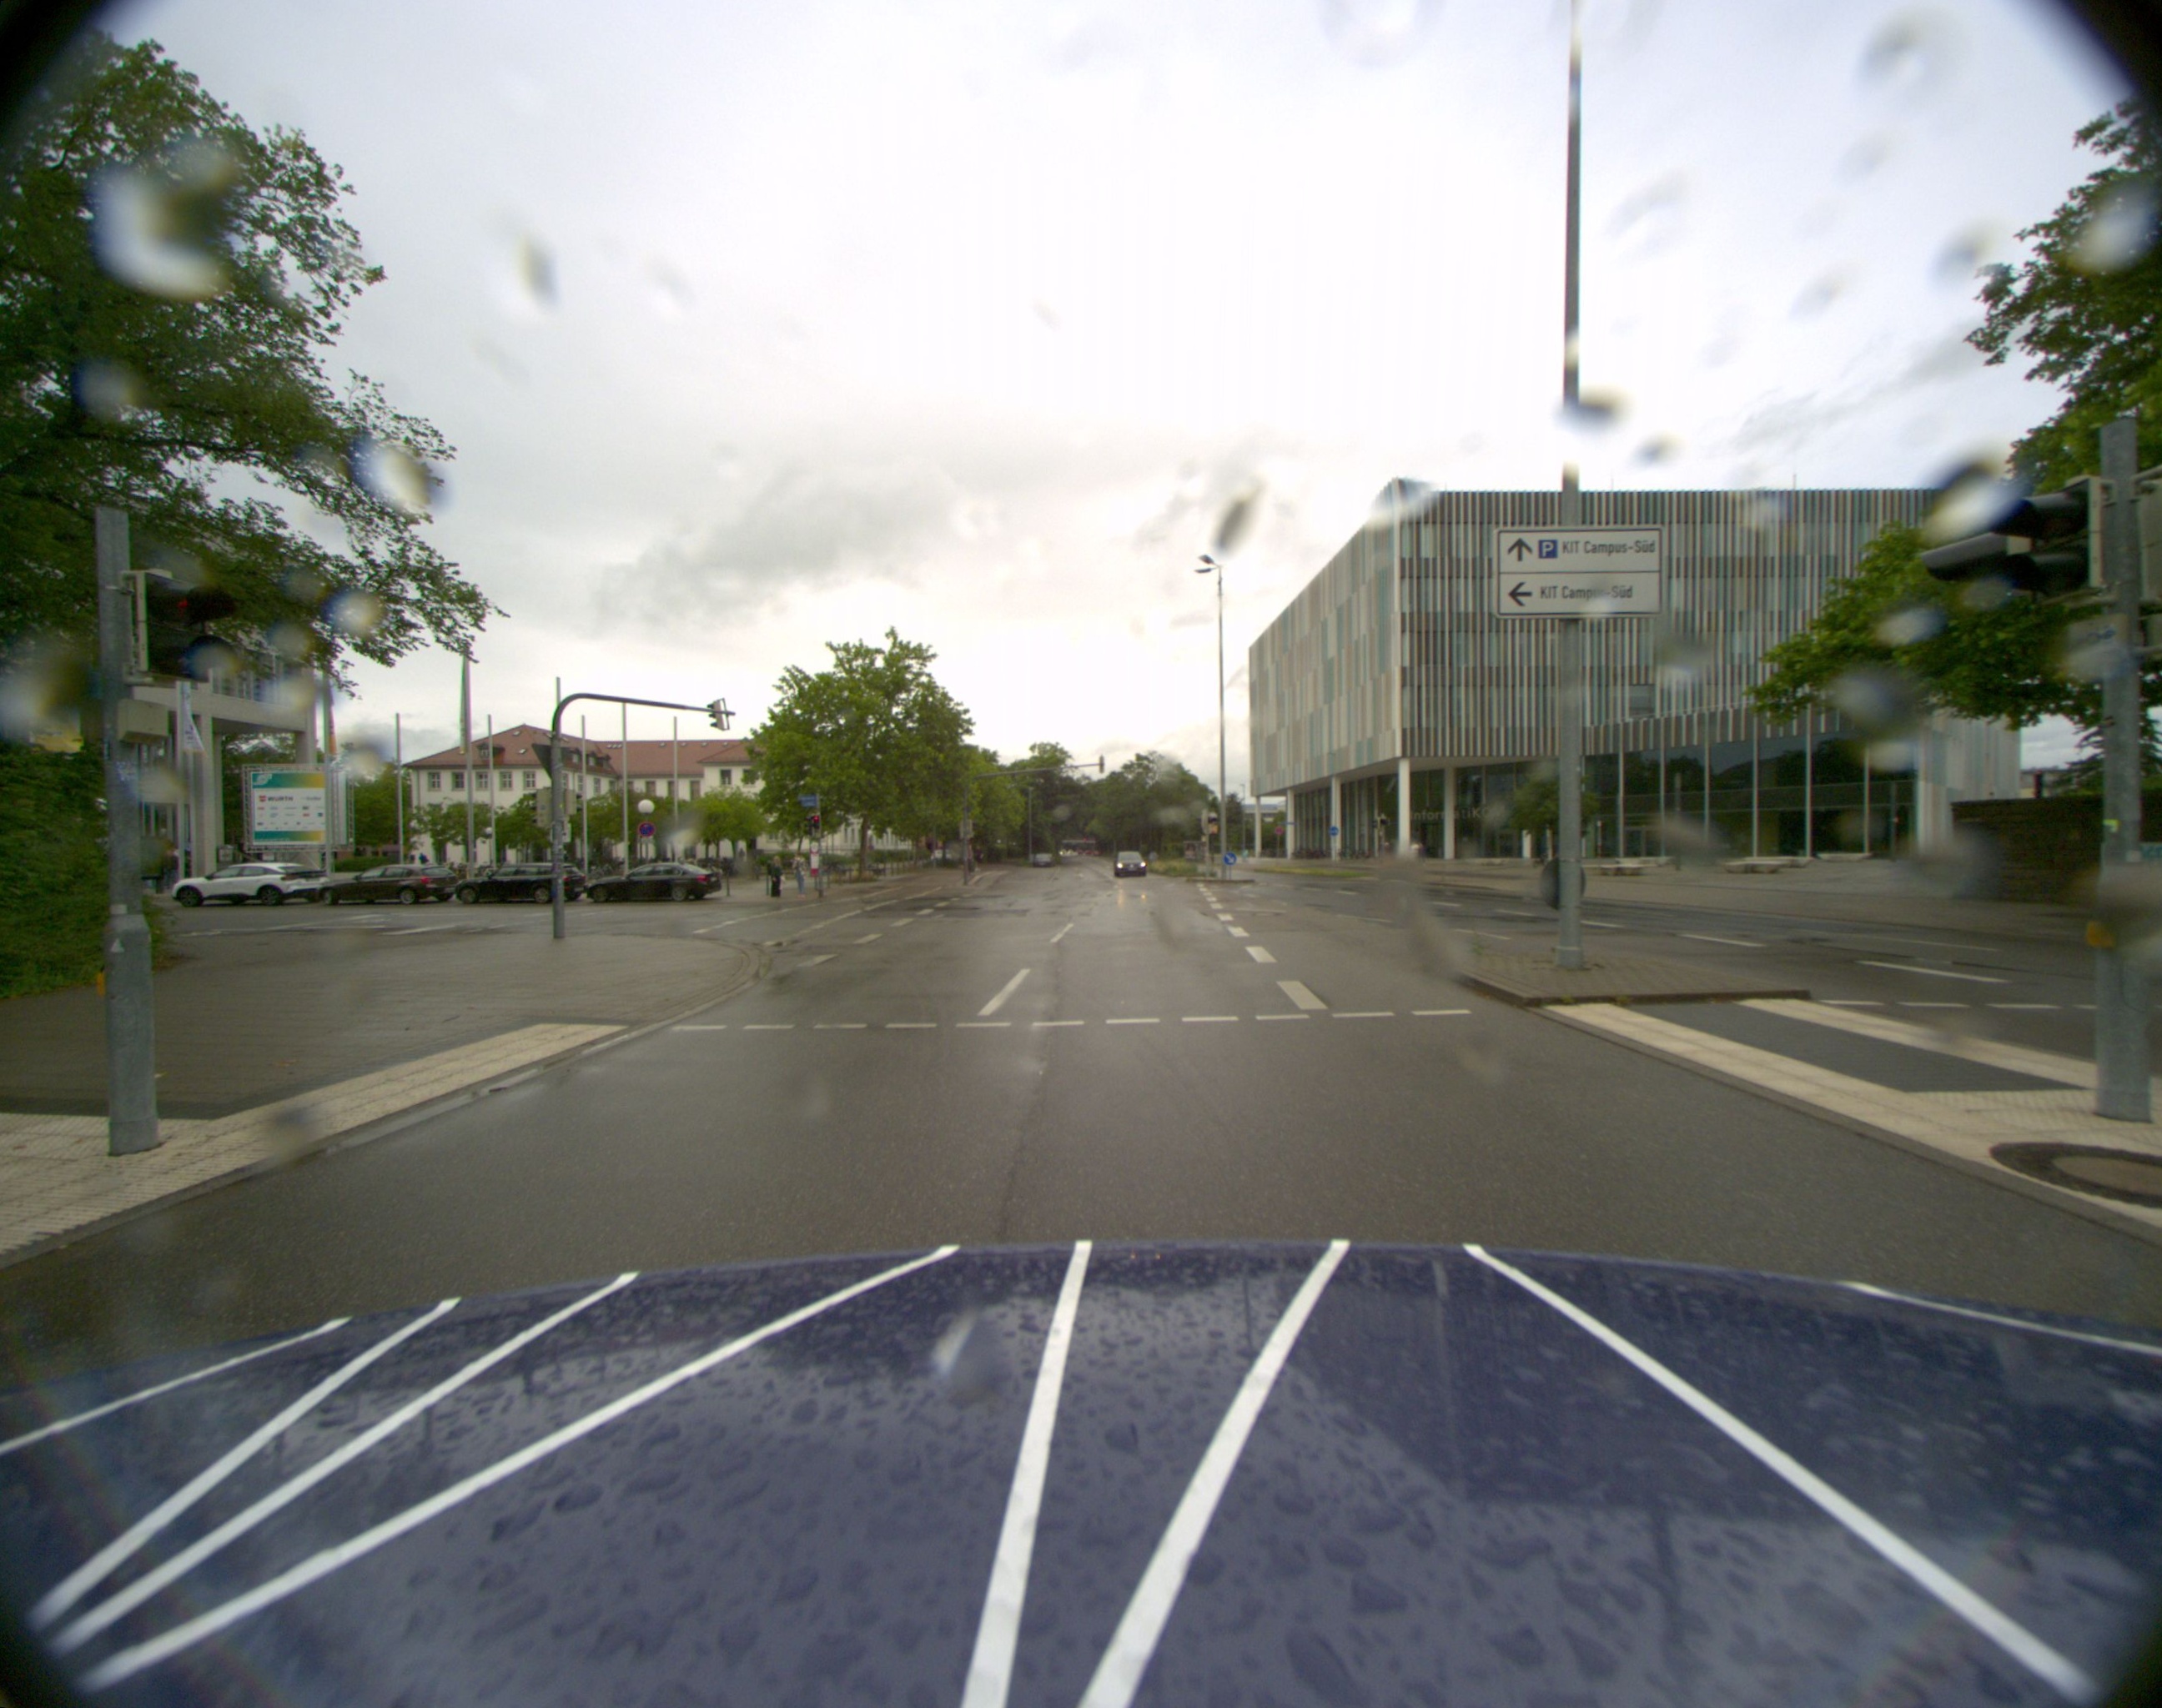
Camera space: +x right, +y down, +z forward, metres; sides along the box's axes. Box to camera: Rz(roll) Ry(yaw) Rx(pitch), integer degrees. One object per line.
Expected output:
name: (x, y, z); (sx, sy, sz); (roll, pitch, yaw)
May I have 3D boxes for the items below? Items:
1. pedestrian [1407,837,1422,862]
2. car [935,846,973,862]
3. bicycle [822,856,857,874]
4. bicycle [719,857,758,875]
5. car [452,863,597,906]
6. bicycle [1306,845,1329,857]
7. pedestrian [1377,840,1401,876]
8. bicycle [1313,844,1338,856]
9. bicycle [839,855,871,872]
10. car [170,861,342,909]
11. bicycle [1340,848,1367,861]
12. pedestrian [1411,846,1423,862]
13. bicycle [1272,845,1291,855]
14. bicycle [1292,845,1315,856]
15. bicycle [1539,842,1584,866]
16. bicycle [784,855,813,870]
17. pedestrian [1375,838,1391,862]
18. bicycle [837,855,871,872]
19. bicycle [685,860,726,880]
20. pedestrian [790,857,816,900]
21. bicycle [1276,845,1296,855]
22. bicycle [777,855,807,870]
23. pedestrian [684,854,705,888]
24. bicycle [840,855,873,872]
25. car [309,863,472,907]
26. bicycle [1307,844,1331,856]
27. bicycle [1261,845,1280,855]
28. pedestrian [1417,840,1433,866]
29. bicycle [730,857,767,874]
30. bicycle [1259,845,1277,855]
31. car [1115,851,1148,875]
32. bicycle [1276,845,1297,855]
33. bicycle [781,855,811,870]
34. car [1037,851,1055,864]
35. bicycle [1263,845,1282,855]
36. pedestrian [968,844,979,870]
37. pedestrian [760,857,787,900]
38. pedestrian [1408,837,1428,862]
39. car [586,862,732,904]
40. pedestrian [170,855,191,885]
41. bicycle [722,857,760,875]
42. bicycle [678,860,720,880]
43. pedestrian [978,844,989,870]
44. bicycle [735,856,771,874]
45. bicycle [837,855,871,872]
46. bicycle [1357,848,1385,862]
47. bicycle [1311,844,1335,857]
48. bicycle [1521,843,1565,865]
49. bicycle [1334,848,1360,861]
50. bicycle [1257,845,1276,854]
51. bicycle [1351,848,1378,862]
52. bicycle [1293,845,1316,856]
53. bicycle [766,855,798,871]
pedestrian: (24.102, -0.342, 54.864); (0.788, 1.814, 0.623); (-1, 1, -22)
car: (-15.404, -0.003, 92.449); (4.426, 1.862, 1.637); (-1, 1, -7)
bicycle: (-16.818, 0.736, 52.982); (2.286, 1.215, 0.598); (-1, 1, -11)
bicycle: (-23.565, 0.835, 52.298); (2.286, 1.215, 0.598); (-1, 1, -11)
car: (-20.565, 1.103, 28.195); (4.013, 1.371, 1.772); (-1, 3, 0)
bicycle: (24.915, -0.317, 80.078); (2.282, 1.215, 0.599); (-1, 1, 10)
pedestrian: (15.784, 0.187, 38.902); (0.788, 1.814, 0.794); (-1, 1, -22)
bicycle: (24.725, -0.393, 76.859); (2.282, 1.215, 0.599); (-1, 1, 10)
bicycle: (-16.953, 0.699, 57.056); (2.286, 1.215, 0.598); (-1, 1, -11)
car: (-30.267, 1.113, 27.988); (4.098, 1.510, 1.771); (-1, 3, -4)
bicycle: (24.932, 0.052, 69.507); (2.286, 1.215, 0.598); (-1, 1, -11)
pedestrian: (25.518, -0.009, 57.761); (0.624, 1.146, 0.787); (-1, 1, 3)
bicycle: (24.356, -0.491, 92.327); (2.282, 1.215, 0.599); (-1, 1, 10)
bicycle: (24.273, -0.403, 82.871); (2.282, 1.215, 0.599); (-1, 1, 10)
bicycle: (26.016, -0.007, 41.152); (2.286, 1.215, 0.598); (-1, 1, -11)
bicycle: (-24.516, 0.712, 66.012); (2.286, 1.215, 0.598); (-1, 1, -11)
pedestrian: (23.050, -0.304, 57.987); (0.922, 1.814, 0.940); (-1, 1, 9)
bicycle: (-16.570, 0.708, 55.567); (2.286, 1.215, 0.598); (-1, 1, -11)
bicycle: (-24.548, 1.042, 49.650); (2.286, 1.215, 0.598); (-1, 1, -11)
pedestrian: (-10.600, 0.906, 28.997); (0.878, 1.598, 0.862); (-1, 1, -21)
bicycle: (24.573, -0.482, 91.056); (2.282, 1.215, 0.599); (-1, 1, 10)
bicycle: (-24.284, 0.728, 63.932); (2.286, 1.215, 0.598); (-1, 1, -11)
pedestrian: (-20.071, 0.880, 39.465); (0.851, 1.728, 1.120); (-2, 1, -31)
bicycle: (-17.063, 0.694, 57.790); (2.286, 1.215, 0.598); (-1, 1, -11)
car: (-25.423, 1.118, 28.093); (4.235, 1.391, 1.772); (-1, 3, -2)
bicycle: (24.704, -0.372, 78.983); (2.282, 1.215, 0.599); (-1, 1, 10)
bicycle: (23.671, -0.506, 94.834); (2.282, 1.215, 0.599); (-1, 1, 10)
pedestrian: (24.228, -0.096, 53.520); (0.788, 1.814, 0.623); (-1, 1, -22)
bicycle: (-23.718, 0.812, 54.213); (2.286, 1.215, 0.598); (-1, 1, -11)
bicycle: (23.928, -0.533, 97.334); (2.282, 1.215, 0.599); (-1, 1, 10)
car: (3.004, 0.506, 45.693); (1.660, 1.357, 4.106); (-1, 1, 0)
bicycle: (24.417, -0.474, 90.328); (2.282, 1.215, 0.599); (-1, 1, 10)
bicycle: (-24.368, 0.720, 64.940); (2.286, 1.215, 0.598); (-1, 1, -11)
car: (-3.616, 0.325, 78.719); (1.660, 1.259, 4.106); (-1, 1, 0)
bicycle: (23.700, -0.498, 93.950); (2.282, 1.215, 0.599); (-1, 1, 10)
pedestrian: (-7.491, 0.206, 52.935); (0.625, 1.814, 0.786); (-1, 1, -13)
pedestrian: (-11.668, 0.922, 28.850); (0.878, 1.598, 0.862); (-1, 1, -24)
pedestrian: (25.006, -0.313, 56.387); (0.940, 1.814, 0.922); (-1, 1, -22)
car: (-15.761, 1.077, 28.549); (4.387, 1.330, 1.772); (-1, 3, -2)
pedestrian: (-44.700, 0.790, 37.700); (0.565, 1.507, 0.470); (0, 1, 21)
bicycle: (-23.830, 0.822, 53.292); (2.286, 1.215, 0.598); (-1, 1, -11)
bicycle: (-24.613, 1.041, 48.960); (2.286, 1.215, 0.598); (-1, 1, -11)
pedestrian: (-6.822, 0.203, 53.124); (0.625, 1.814, 0.785); (-1, 1, -21)
bicycle: (-23.758, 0.805, 55.019); (2.286, 1.215, 0.598); (-1, 1, -11)
bicycle: (-16.788, 0.705, 56.254); (2.286, 1.215, 0.598); (-1, 1, -11)
bicycle: (25.763, 0.060, 67.476); (2.286, 1.215, 0.598); (-1, 1, -11)
bicycle: (24.771, -0.363, 77.947); (2.282, 1.215, 0.599); (-1, 1, 10)
bicycle: (25.620, 0.002, 42.141); (2.286, 1.215, 0.598); (-1, 1, -11)
bicycle: (24.674, 0.045, 70.606); (2.286, 1.215, 0.598); (-1, 1, -11)
bicycle: (24.342, -0.560, 99.697); (2.282, 1.215, 0.599); (-1, 1, 10)
bicycle: (25.439, 0.058, 68.095); (2.286, 1.215, 0.598); (-1, 1, -11)
bicycle: (24.128, -0.393, 82.046); (2.282, 1.215, 0.599); (-1, 1, 10)
bicycle: (-24.477, 0.747, 62.244); (2.286, 1.215, 0.598); (-1, 1, -11)
